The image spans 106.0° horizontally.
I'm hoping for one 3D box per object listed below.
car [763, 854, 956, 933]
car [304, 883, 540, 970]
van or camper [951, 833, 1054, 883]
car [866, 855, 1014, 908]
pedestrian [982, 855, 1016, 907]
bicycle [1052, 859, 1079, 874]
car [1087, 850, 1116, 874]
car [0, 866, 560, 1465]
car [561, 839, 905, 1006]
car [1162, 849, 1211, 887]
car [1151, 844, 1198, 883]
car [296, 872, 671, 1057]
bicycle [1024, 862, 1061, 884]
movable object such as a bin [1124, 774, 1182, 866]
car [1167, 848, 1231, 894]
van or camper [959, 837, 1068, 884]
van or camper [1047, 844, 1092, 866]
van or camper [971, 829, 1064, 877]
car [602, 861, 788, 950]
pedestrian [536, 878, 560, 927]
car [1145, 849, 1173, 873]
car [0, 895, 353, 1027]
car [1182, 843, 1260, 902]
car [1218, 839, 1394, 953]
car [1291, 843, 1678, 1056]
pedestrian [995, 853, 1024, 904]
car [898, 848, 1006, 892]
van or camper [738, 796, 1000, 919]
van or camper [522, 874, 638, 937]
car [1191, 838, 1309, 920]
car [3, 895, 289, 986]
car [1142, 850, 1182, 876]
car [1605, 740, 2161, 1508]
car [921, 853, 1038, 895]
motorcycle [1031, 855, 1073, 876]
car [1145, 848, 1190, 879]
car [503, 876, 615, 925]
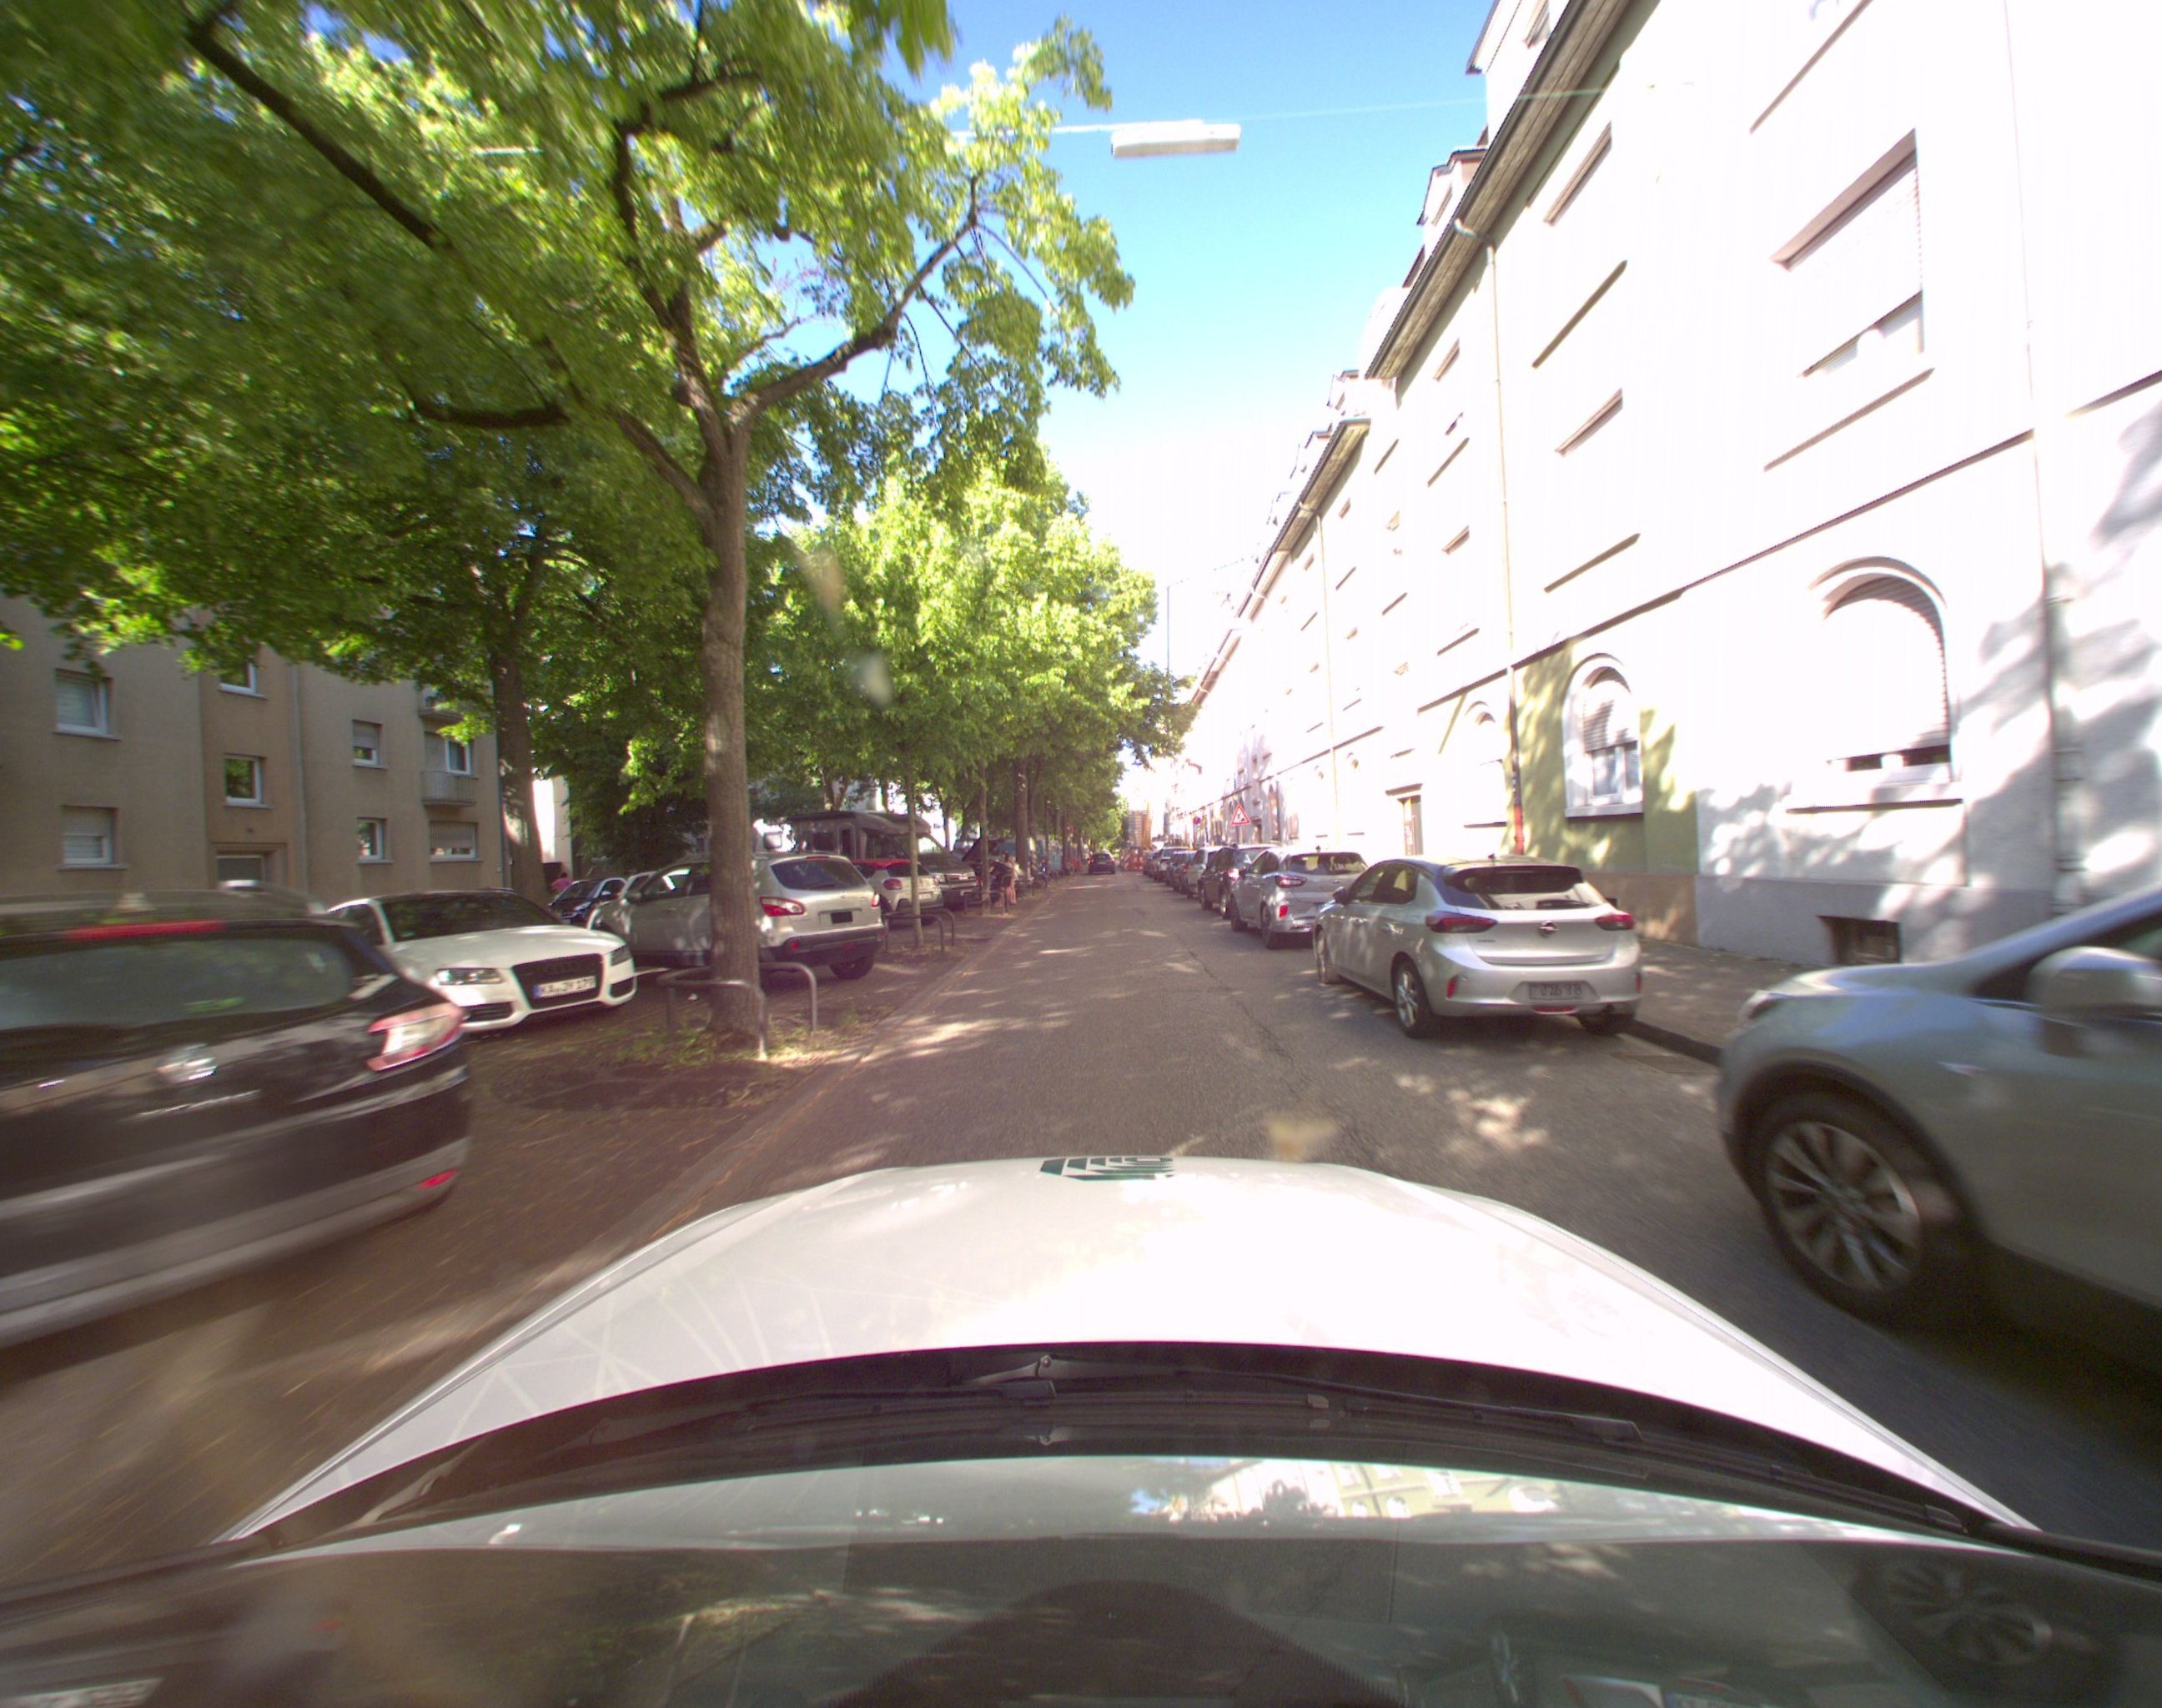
[{"bbox_3d":[-4.906,0.875,17.937,3.948,1.507,1.768,-3,0,30],"label":"car"},{"bbox_3d":[-14.879,1.550,18.773,1.757,1.508,4.311,-3,0,2],"label":"car"},{"bbox_3d":[-4.722,0.254,48.724,5.811,2.637,2.269,-3,0,31],"label":"van or camper"},{"bbox_3d":[-4.346,0.848,24.904,4.274,1.424,1.685,-2,0,28],"label":"car"},{"bbox_3d":[-2.375,0.787,23.686,0.703,1.456,0.600,-3,0,25],"label":"pedestrian"},{"bbox_3d":[-1.125,0.905,59.038,1.879,1.006,0.433,-3,0,25],"label":"bicycle"},{"bbox_3d":[1.379,0.512,54.874,1.791,1.503,3.586,-3,0,1],"label":"car"},{"bbox_3d":[-4.296,0.861,3.604,4.366,1.462,1.727,-2,-1,34],"label":"car"},{"bbox_3d":[-4.375,0.763,10.103,4.094,1.679,1.770,-2,0,30],"label":"car"},{"bbox_3d":[4.289,0.552,33.694,1.611,1.412,3.790,-3,0,2],"label":"car"},{"bbox_3d":[4.435,0.414,39.216,1.809,1.674,4.675,-3,0,2],"label":"car"},{"bbox_3d":[-6.199,0.919,8.344,3.990,1.403,1.835,-1,0,34],"label":"car"},{"bbox_3d":[-1.917,0.926,40.727,1.729,1.006,0.507,-3,0,-29],"label":"bicycle"},{"bbox_3d":[5.498,-2.548,62.416,3.444,6.759,2.384,-2,0,34],"label":"movable object such as a bin"},{"bbox_3d":[4.060,0.535,28.558,1.625,1.412,4.089,-3,0,0],"label":"car"},{"bbox_3d":[-3.693,0.374,44.450,5.447,2.275,2.234,-3,0,25],"label":"van or camper"},{"bbox_3d":[-1.501,0.170,103.446,5.280,2.474,2.309,-3,0,34],"label":"van or camper"},{"bbox_3d":[-4.852,-0.041,61.842,6.592,3.240,2.511,-3,0,30],"label":"van or camper"},{"bbox_3d":[-7.687,0.989,16.135,3.498,1.507,1.769,-3,0,35],"label":"car"},{"bbox_3d":[-20.182,1.829,30.863,0.497,1.826,0.463,-3,0,1],"label":"pedestrian"},{"bbox_3d":[5.174,0.445,54.097,1.586,1.530,2.781,-2,0,1],"label":"car"},{"bbox_3d":[-15.036,1.601,13.337,1.986,1.508,4.535,-3,0,2],"label":"car"},{"bbox_3d":[4.026,0.499,23.936,1.625,1.534,3.592,-3,0,0],"label":"car"},{"bbox_3d":[3.511,0.583,13.511,1.717,1.528,4.157,-3,0,0],"label":"car"},{"bbox_3d":[3.394,0.667,7.855,1.716,1.432,4.159,-3,0,2],"label":"car"},{"bbox_3d":[-2.139,0.726,24.231,0.609,1.456,0.522,-3,0,25],"label":"pedestrian"},{"bbox_3d":[-5.715,0.716,35.931,4.501,1.764,1.822,-2,0,32],"label":"car"},{"bbox_3d":[-5.939,0.194,22.384,7.157,2.929,2.328,-3,0,28],"label":"van or camper"},{"bbox_3d":[-14.504,1.446,23.734,1.590,1.555,2.698,-3,0,2],"label":"van or camper"},{"bbox_3d":[3.739,0.510,18.761,1.718,1.596,4.156,-3,0,-1],"label":"car"},{"bbox_3d":[-19.063,1.701,16.884,1.618,1.386,3.613,-3,0,2],"label":"car"},{"bbox_3d":[4.813,0.531,49.089,1.987,1.409,4.501,-2,0,1],"label":"car"},{"bbox_3d":[3.205,0.561,1.505,1.717,1.686,4.157,-3,0,-1],"label":"car"},{"bbox_3d":[-3.990,0.800,31.843,4.431,1.443,1.744,-2,0,34],"label":"car"},{"bbox_3d":[-1.877,0.759,52.602,2.534,1.258,0.765,-3,0,9],"label":"motorcycle"},{"bbox_3d":[4.677,0.507,44.582,1.786,1.523,3.960,-3,0,-3],"label":"car"},{"bbox_3d":[-19.071,1.650,29.945,1.618,1.482,3.613,-3,0,2],"label":"car"}]
